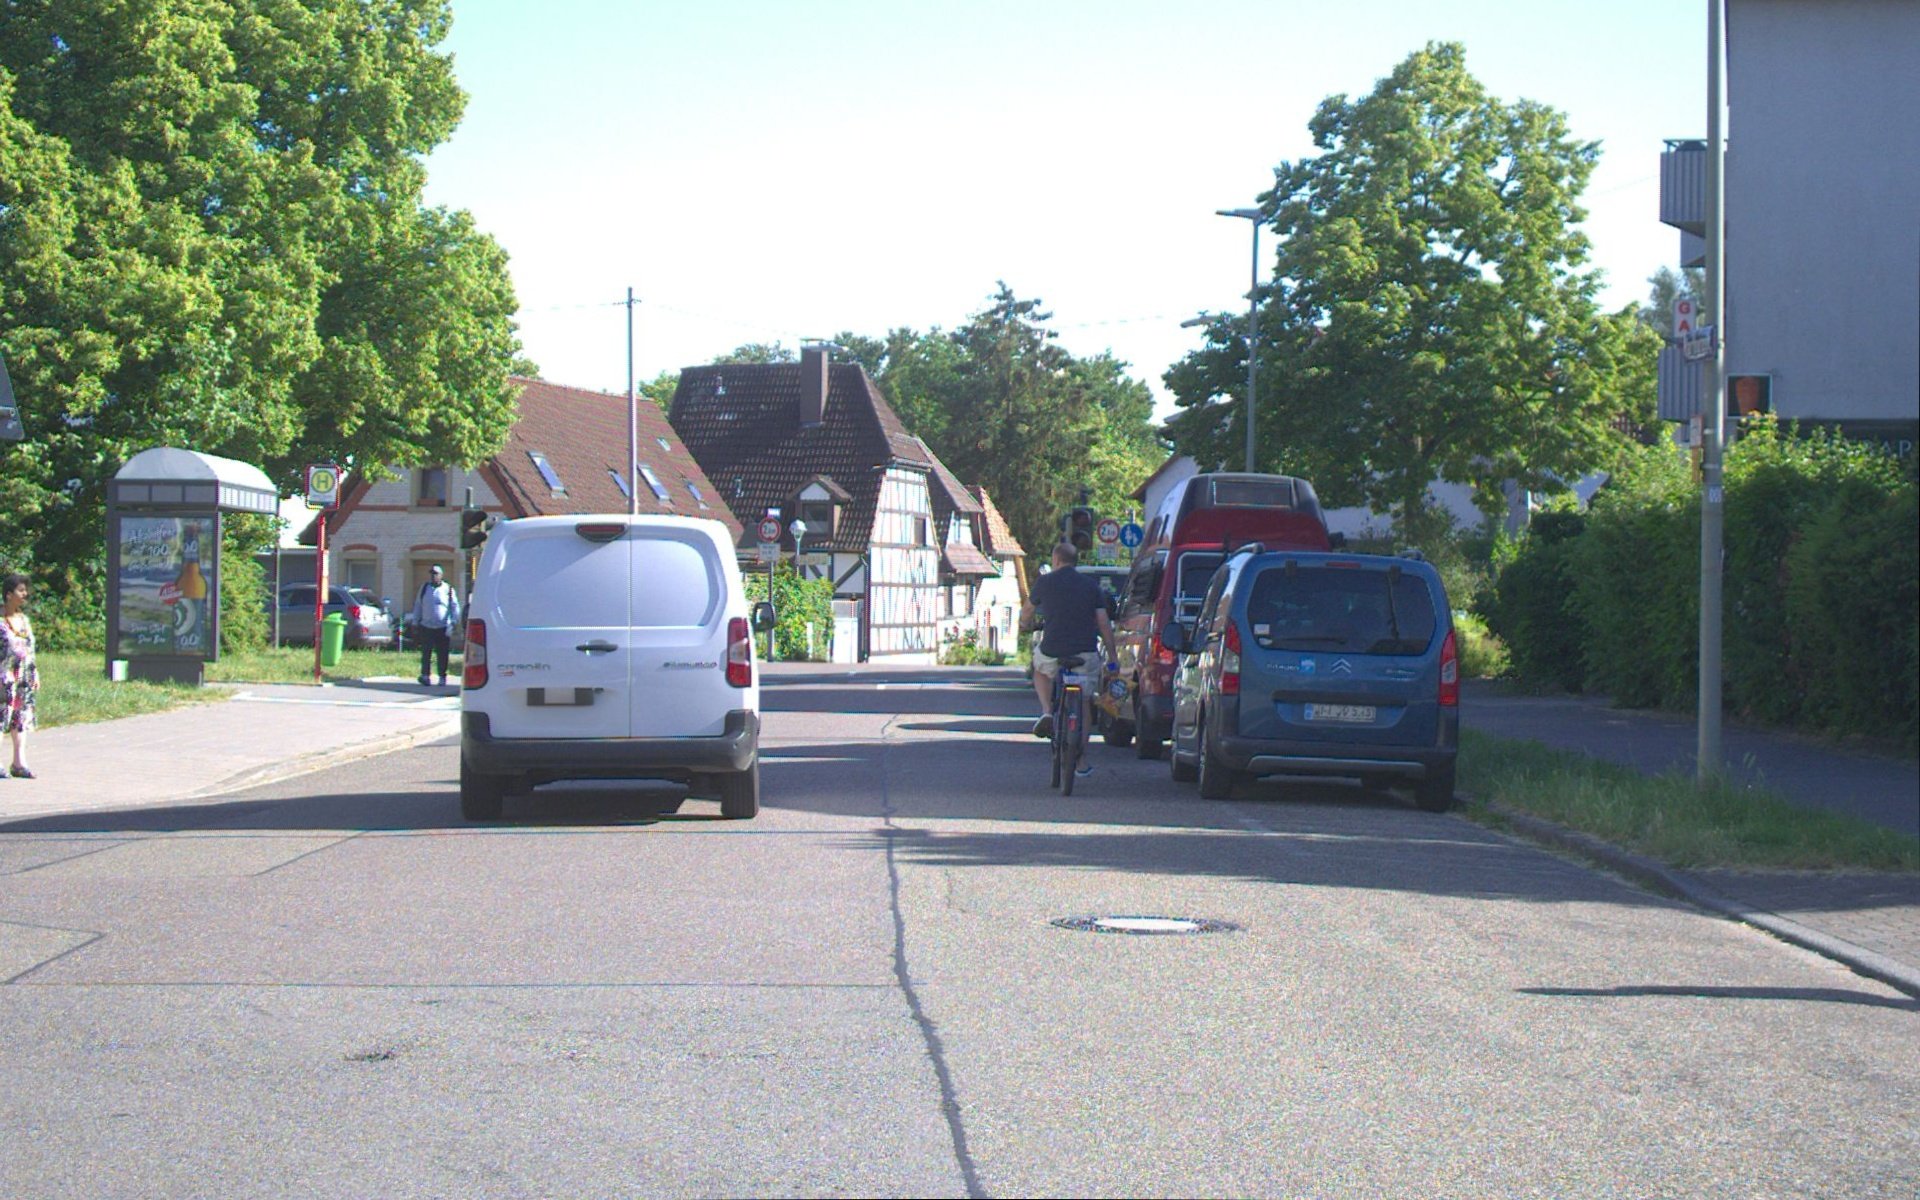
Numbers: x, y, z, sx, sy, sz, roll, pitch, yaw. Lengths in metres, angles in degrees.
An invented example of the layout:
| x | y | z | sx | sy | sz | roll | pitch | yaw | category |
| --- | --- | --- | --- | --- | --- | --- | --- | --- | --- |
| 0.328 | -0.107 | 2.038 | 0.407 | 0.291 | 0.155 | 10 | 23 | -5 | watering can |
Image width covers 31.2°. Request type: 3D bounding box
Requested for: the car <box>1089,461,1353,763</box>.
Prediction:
| x | y | z | sx | sy | sz | roll | pitch | yaw | category |
| --- | --- | --- | --- | --- | --- | --- | --- | --- | --- |
| 2.376 | 0.110 | 32.493 | 1.866 | 2.554 | 4.768 | 3 | 0 | -2 | car |

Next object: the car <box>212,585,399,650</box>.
| x | y | z | sx | sy | sz | roll | pitch | yaw | category |
| --- | --- | --- | --- | --- | --- | --- | --- | --- | --- |
| -15.447 | 0.398 | 81.178 | 3.980 | 1.424 | 1.714 | 1 | 0 | 18 | car |

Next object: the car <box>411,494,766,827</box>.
| x | y | z | sx | sy | sz | roll | pitch | yaw | category |
| --- | --- | --- | --- | --- | --- | --- | --- | --- | --- |
| -2.257 | 0.324 | 21.885 | 1.993 | 1.875 | 4.289 | 1 | 1 | -3 | car |

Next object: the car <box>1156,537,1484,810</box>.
| x | y | z | sx | sy | sz | roll | pitch | yaw | category |
| --- | --- | --- | --- | --- | --- | --- | --- | --- | --- |
| 2.579 | 0.510 | 25.501 | 1.804 | 1.779 | 4.000 | 3 | 0 | -2 | car |

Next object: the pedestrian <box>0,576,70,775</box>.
| x | y | z | sx | sy | sz | roll | pitch | yaw | category |
| --- | --- | --- | --- | --- | --- | --- | --- | --- | --- |
| -7.077 | 0.555 | 25.532 | 0.510 | 1.441 | 0.638 | 4 | 1 | 33 | pedestrian |

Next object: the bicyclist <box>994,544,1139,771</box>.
| x | y | z | sx | sy | sz | roll | pitch | yaw | category |
| --- | --- | --- | --- | --- | --- | --- | --- | --- | --- |
| 0.756 | 0.405 | 24.692 | 0.905 | 1.579 | 0.966 | 1 | 0 | -4 | bicyclist |

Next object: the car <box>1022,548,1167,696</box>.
| x | y | z | sx | sy | sz | roll | pitch | yaw | category |
| --- | --- | --- | --- | --- | --- | --- | --- | --- | --- |
| 1.985 | 0.320 | 51.899 | 1.804 | 2.062 | 4.000 | 3 | 0 | -2 | car |

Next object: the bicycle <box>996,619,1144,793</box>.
| x | y | z | sx | sy | sz | roll | pitch | yaw | category |
| --- | --- | --- | --- | --- | --- | --- | --- | --- | --- |
| 0.764 | 0.730 | 24.614 | 0.786 | 1.135 | 2.280 | 1 | 1 | -5 | bicycle |

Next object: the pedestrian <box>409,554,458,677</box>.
| x | y | z | sx | sy | sz | roll | pitch | yaw | category |
| --- | --- | --- | --- | --- | --- | --- | --- | --- | --- |
| -7.767 | 0.235 | 50.738 | 0.621 | 1.799 | 0.640 | 1 | -1 | -2 | pedestrian |
